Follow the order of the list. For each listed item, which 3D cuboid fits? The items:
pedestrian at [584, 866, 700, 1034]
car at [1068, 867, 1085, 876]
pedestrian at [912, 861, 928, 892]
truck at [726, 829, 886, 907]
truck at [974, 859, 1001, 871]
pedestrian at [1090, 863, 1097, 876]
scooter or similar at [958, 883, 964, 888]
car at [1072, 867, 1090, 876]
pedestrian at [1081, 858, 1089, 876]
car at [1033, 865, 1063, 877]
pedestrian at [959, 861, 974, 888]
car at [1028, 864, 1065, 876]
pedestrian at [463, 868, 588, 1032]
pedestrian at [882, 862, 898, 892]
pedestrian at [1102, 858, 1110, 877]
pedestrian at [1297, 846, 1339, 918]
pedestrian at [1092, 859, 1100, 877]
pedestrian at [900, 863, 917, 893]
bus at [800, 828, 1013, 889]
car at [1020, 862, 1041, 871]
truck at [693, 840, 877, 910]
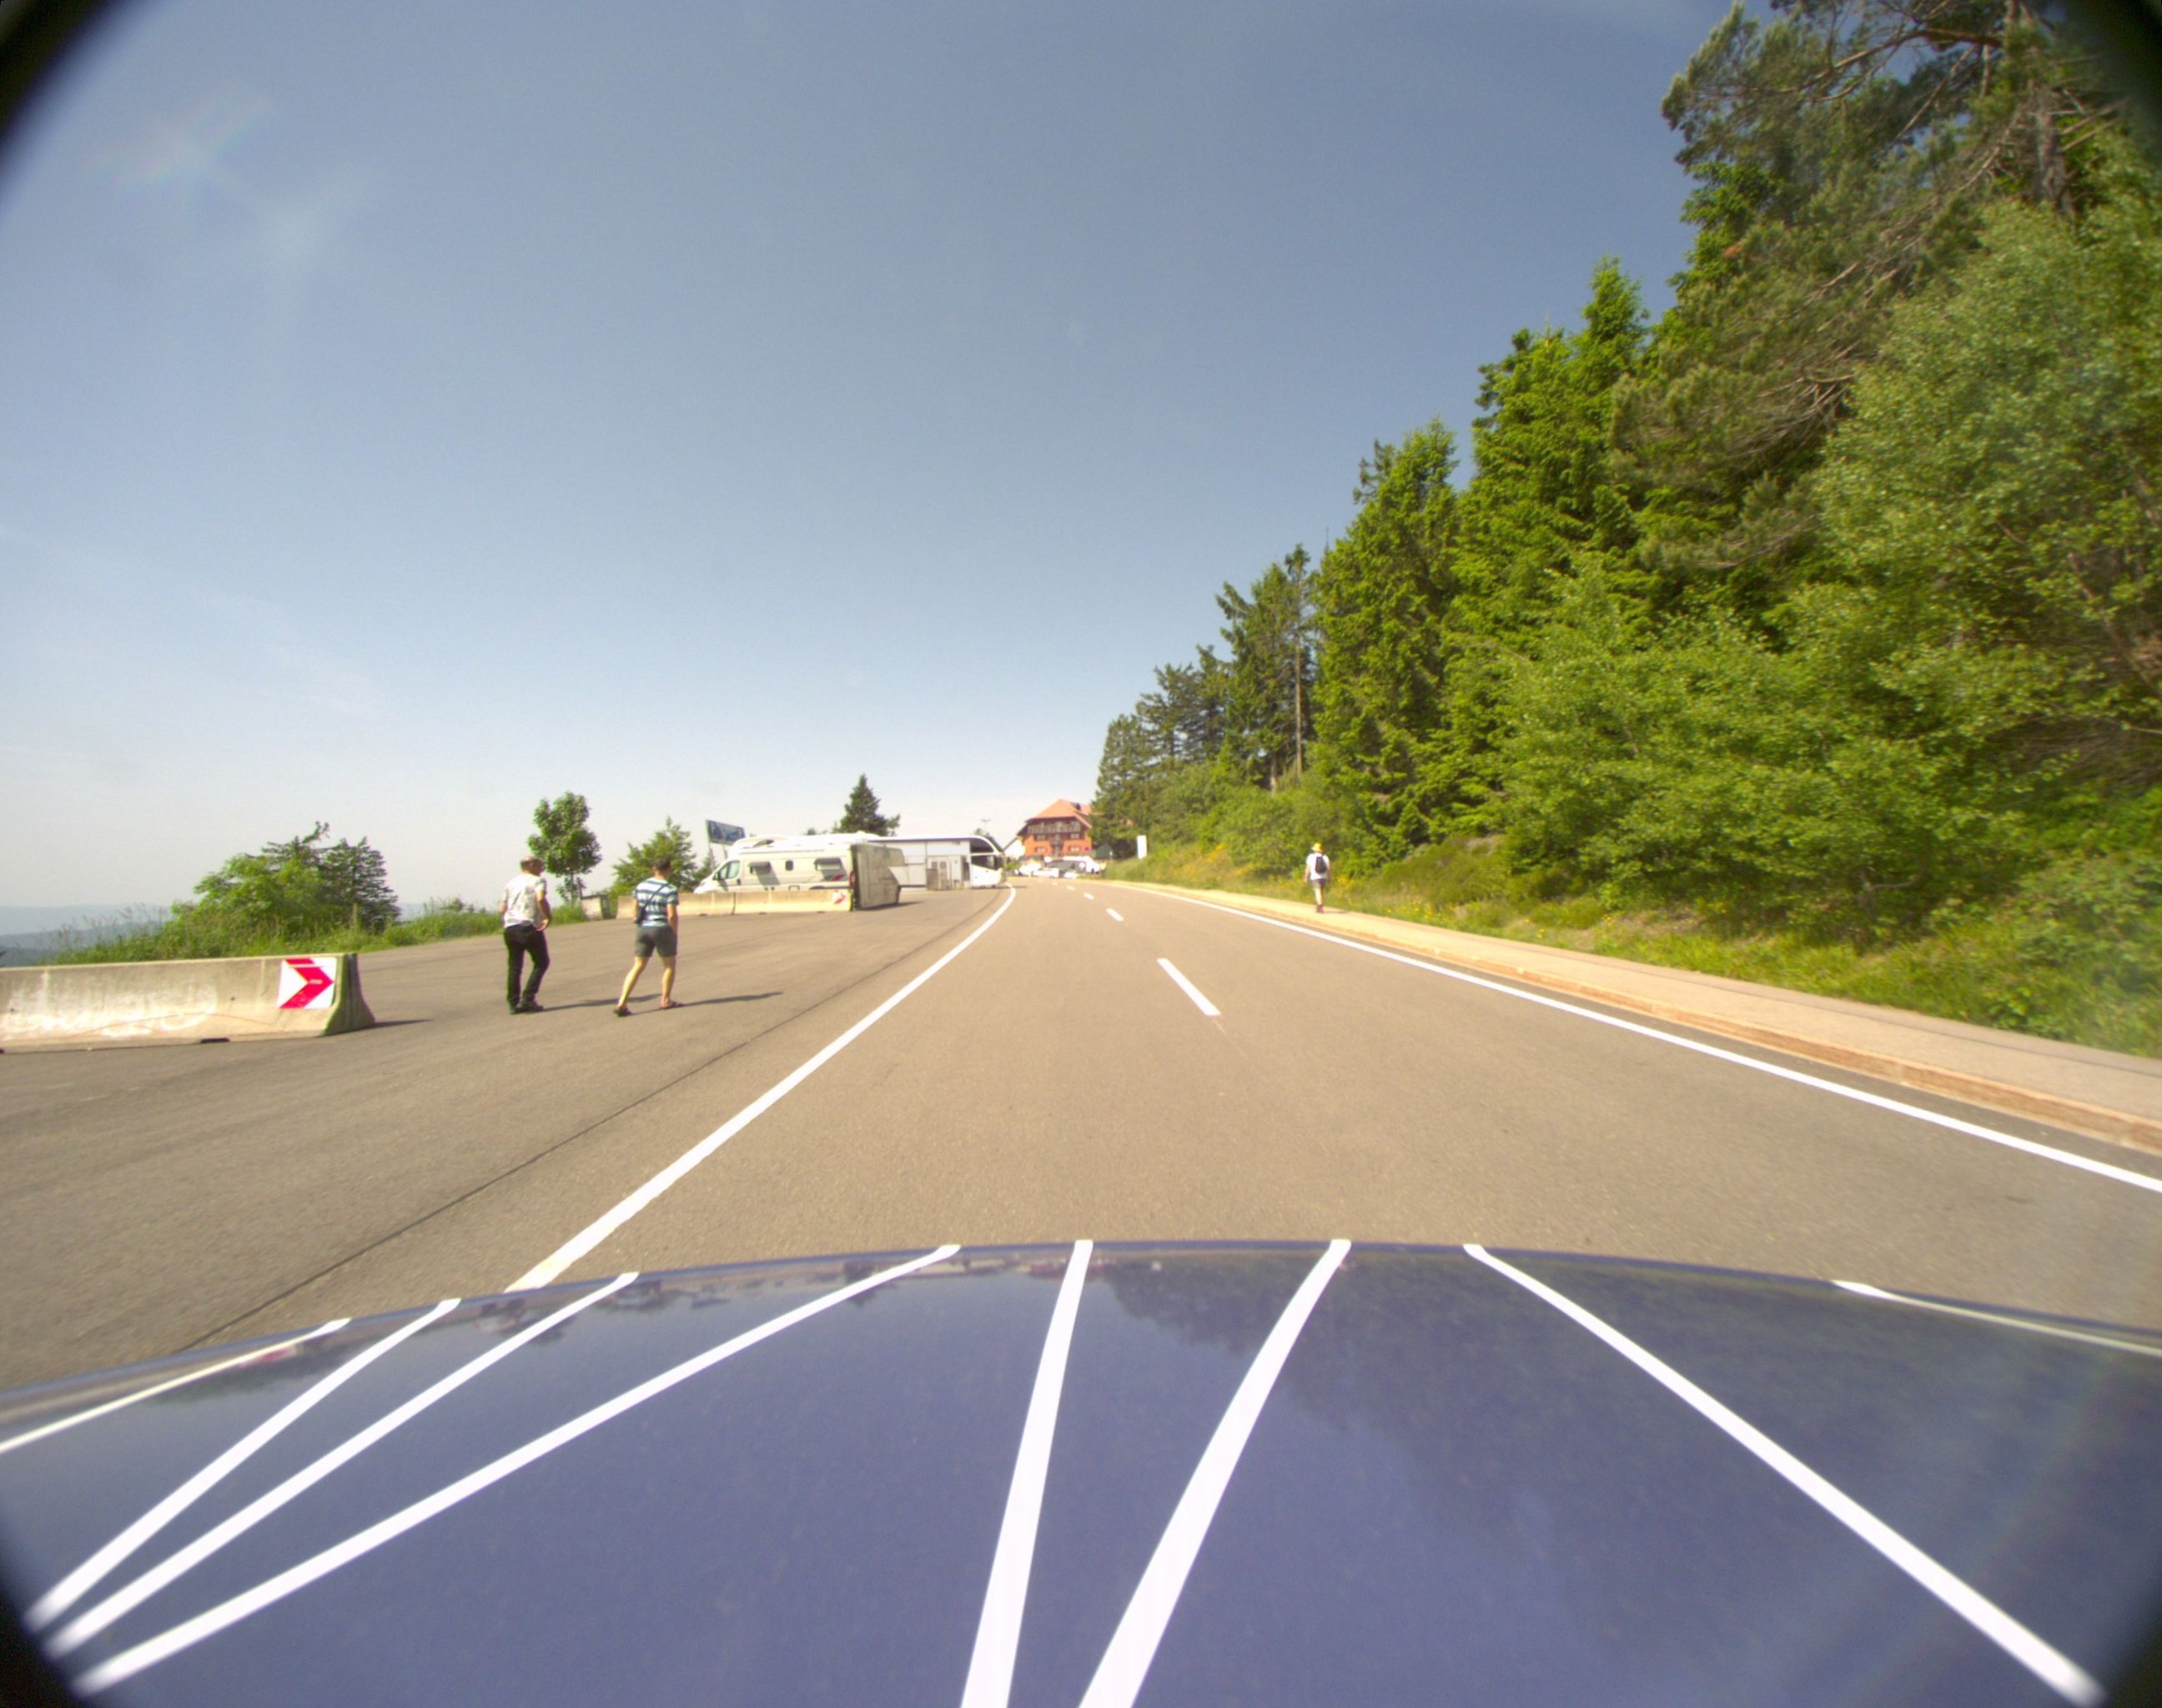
[{"bbox_3d":[-4.818,1.014,8.380,0.755,1.750,0.776,-1,0,12],"label":"pedestrian"},{"bbox_3d":[-0.760,2.910,127.992,1.710,1.543,3.141,-1,-1,27],"label":"car"},{"bbox_3d":[-9.009,1.254,42.443,0.631,1.747,0.628,-1,0,11],"label":"pedestrian"},{"bbox_3d":[-11.893,0.598,33.288,6.081,3.177,2.531,-1,0,-4],"label":"truck"},{"bbox_3d":[-22.995,2.682,188.081,2.864,2.813,8.775,-1,0,20],"label":"truck"},{"bbox_3d":[1.084,1.355,65.322,0.570,1.095,0.744,0,-1,-6],"label":"pedestrian"},{"bbox_3d":[-7.241,1.905,45.884,0.285,0.309,0.327,-1,0,6],"label":"scooter or similar"},{"bbox_3d":[0.000,2.929,125.199,1.637,1.425,3.322,-2,-3,25],"label":"car"},{"bbox_3d":[0.380,1.234,71.197,0.581,1.731,0.686,0,-1,-15],"label":"pedestrian"},{"bbox_3d":[-4.720,2.455,109.222,3.954,1.578,1.793,-1,-1,24],"label":"car"},{"bbox_3d":[-6.820,1.223,45.234,0.631,1.557,0.628,-1,0,11],"label":"pedestrian"},{"bbox_3d":[-5.316,2.501,117.998,5.352,1.858,2.003,-1,-1,19],"label":"car"},{"bbox_3d":[-6.239,1.031,8.573,0.666,1.731,0.895,-1,0,12],"label":"pedestrian"},{"bbox_3d":[-10.781,1.286,42.991,0.631,1.687,0.628,-1,0,11],"label":"pedestrian"},{"bbox_3d":[2.186,1.208,67.397,0.578,1.633,0.894,0,-1,-6],"label":"pedestrian"},{"bbox_3d":[5.866,0.678,18.816,0.684,1.736,0.825,-2,0,-6],"label":"pedestrian"},{"bbox_3d":[1.298,1.213,66.851,0.582,1.528,0.879,0,-1,-9],"label":"pedestrian"},{"bbox_3d":[-9.719,1.352,42.763,0.630,1.641,0.629,-1,0,22],"label":"pedestrian"},{"bbox_3d":[-10.947,0.292,48.646,12.880,3.556,2.839,-1,0,-1],"label":"bus"},{"bbox_3d":[-8.810,2.252,132.879,3.326,1.582,1.720,-1,-1,31],"label":"car"},{"bbox_3d":[-11.514,0.804,29.970,6.277,2.575,2.340,-1,0,-2],"label":"truck"}]
